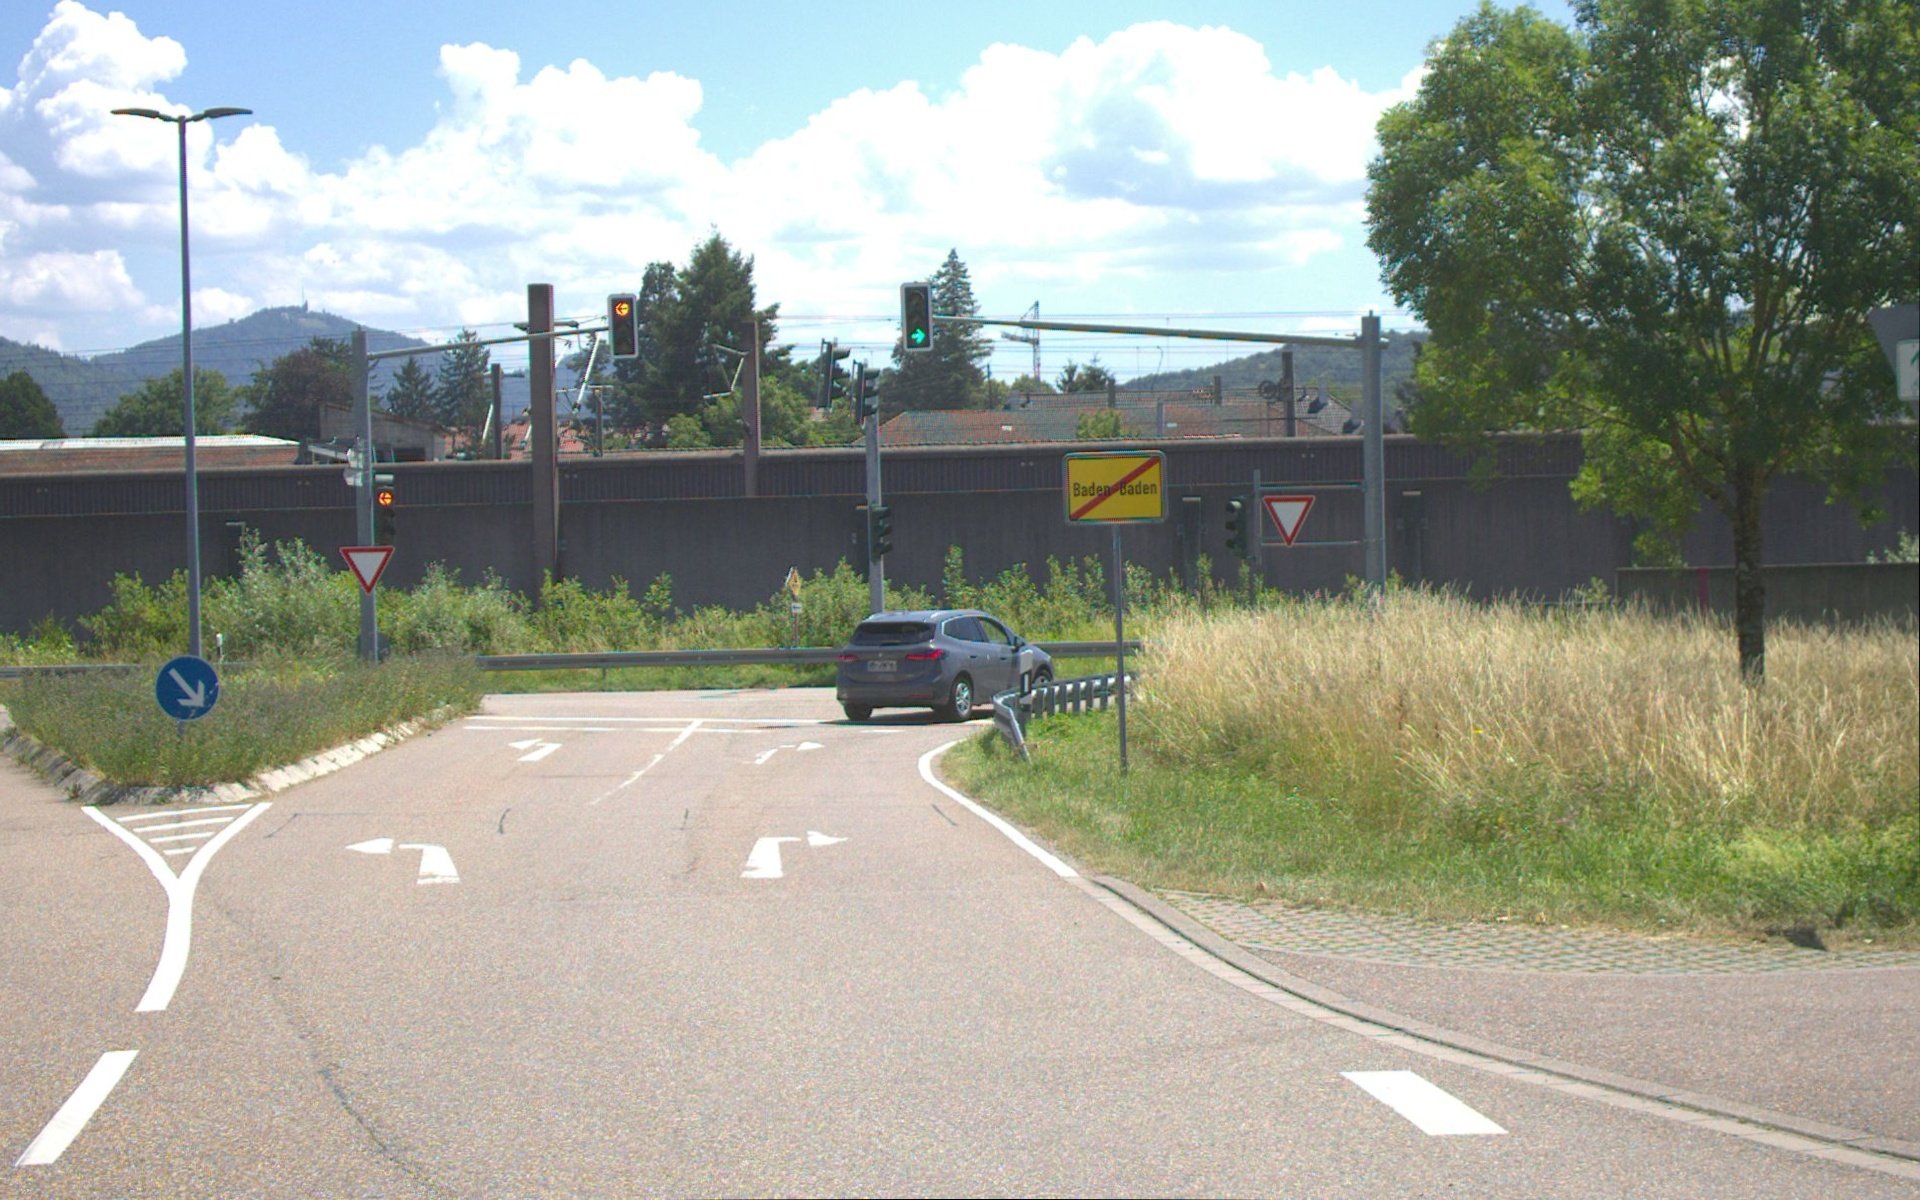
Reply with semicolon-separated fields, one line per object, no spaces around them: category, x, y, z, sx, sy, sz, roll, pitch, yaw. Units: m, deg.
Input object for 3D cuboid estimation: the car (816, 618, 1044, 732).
car;-0.386;1.046;49.841;1.995;1.498;3.996;1;1;20
